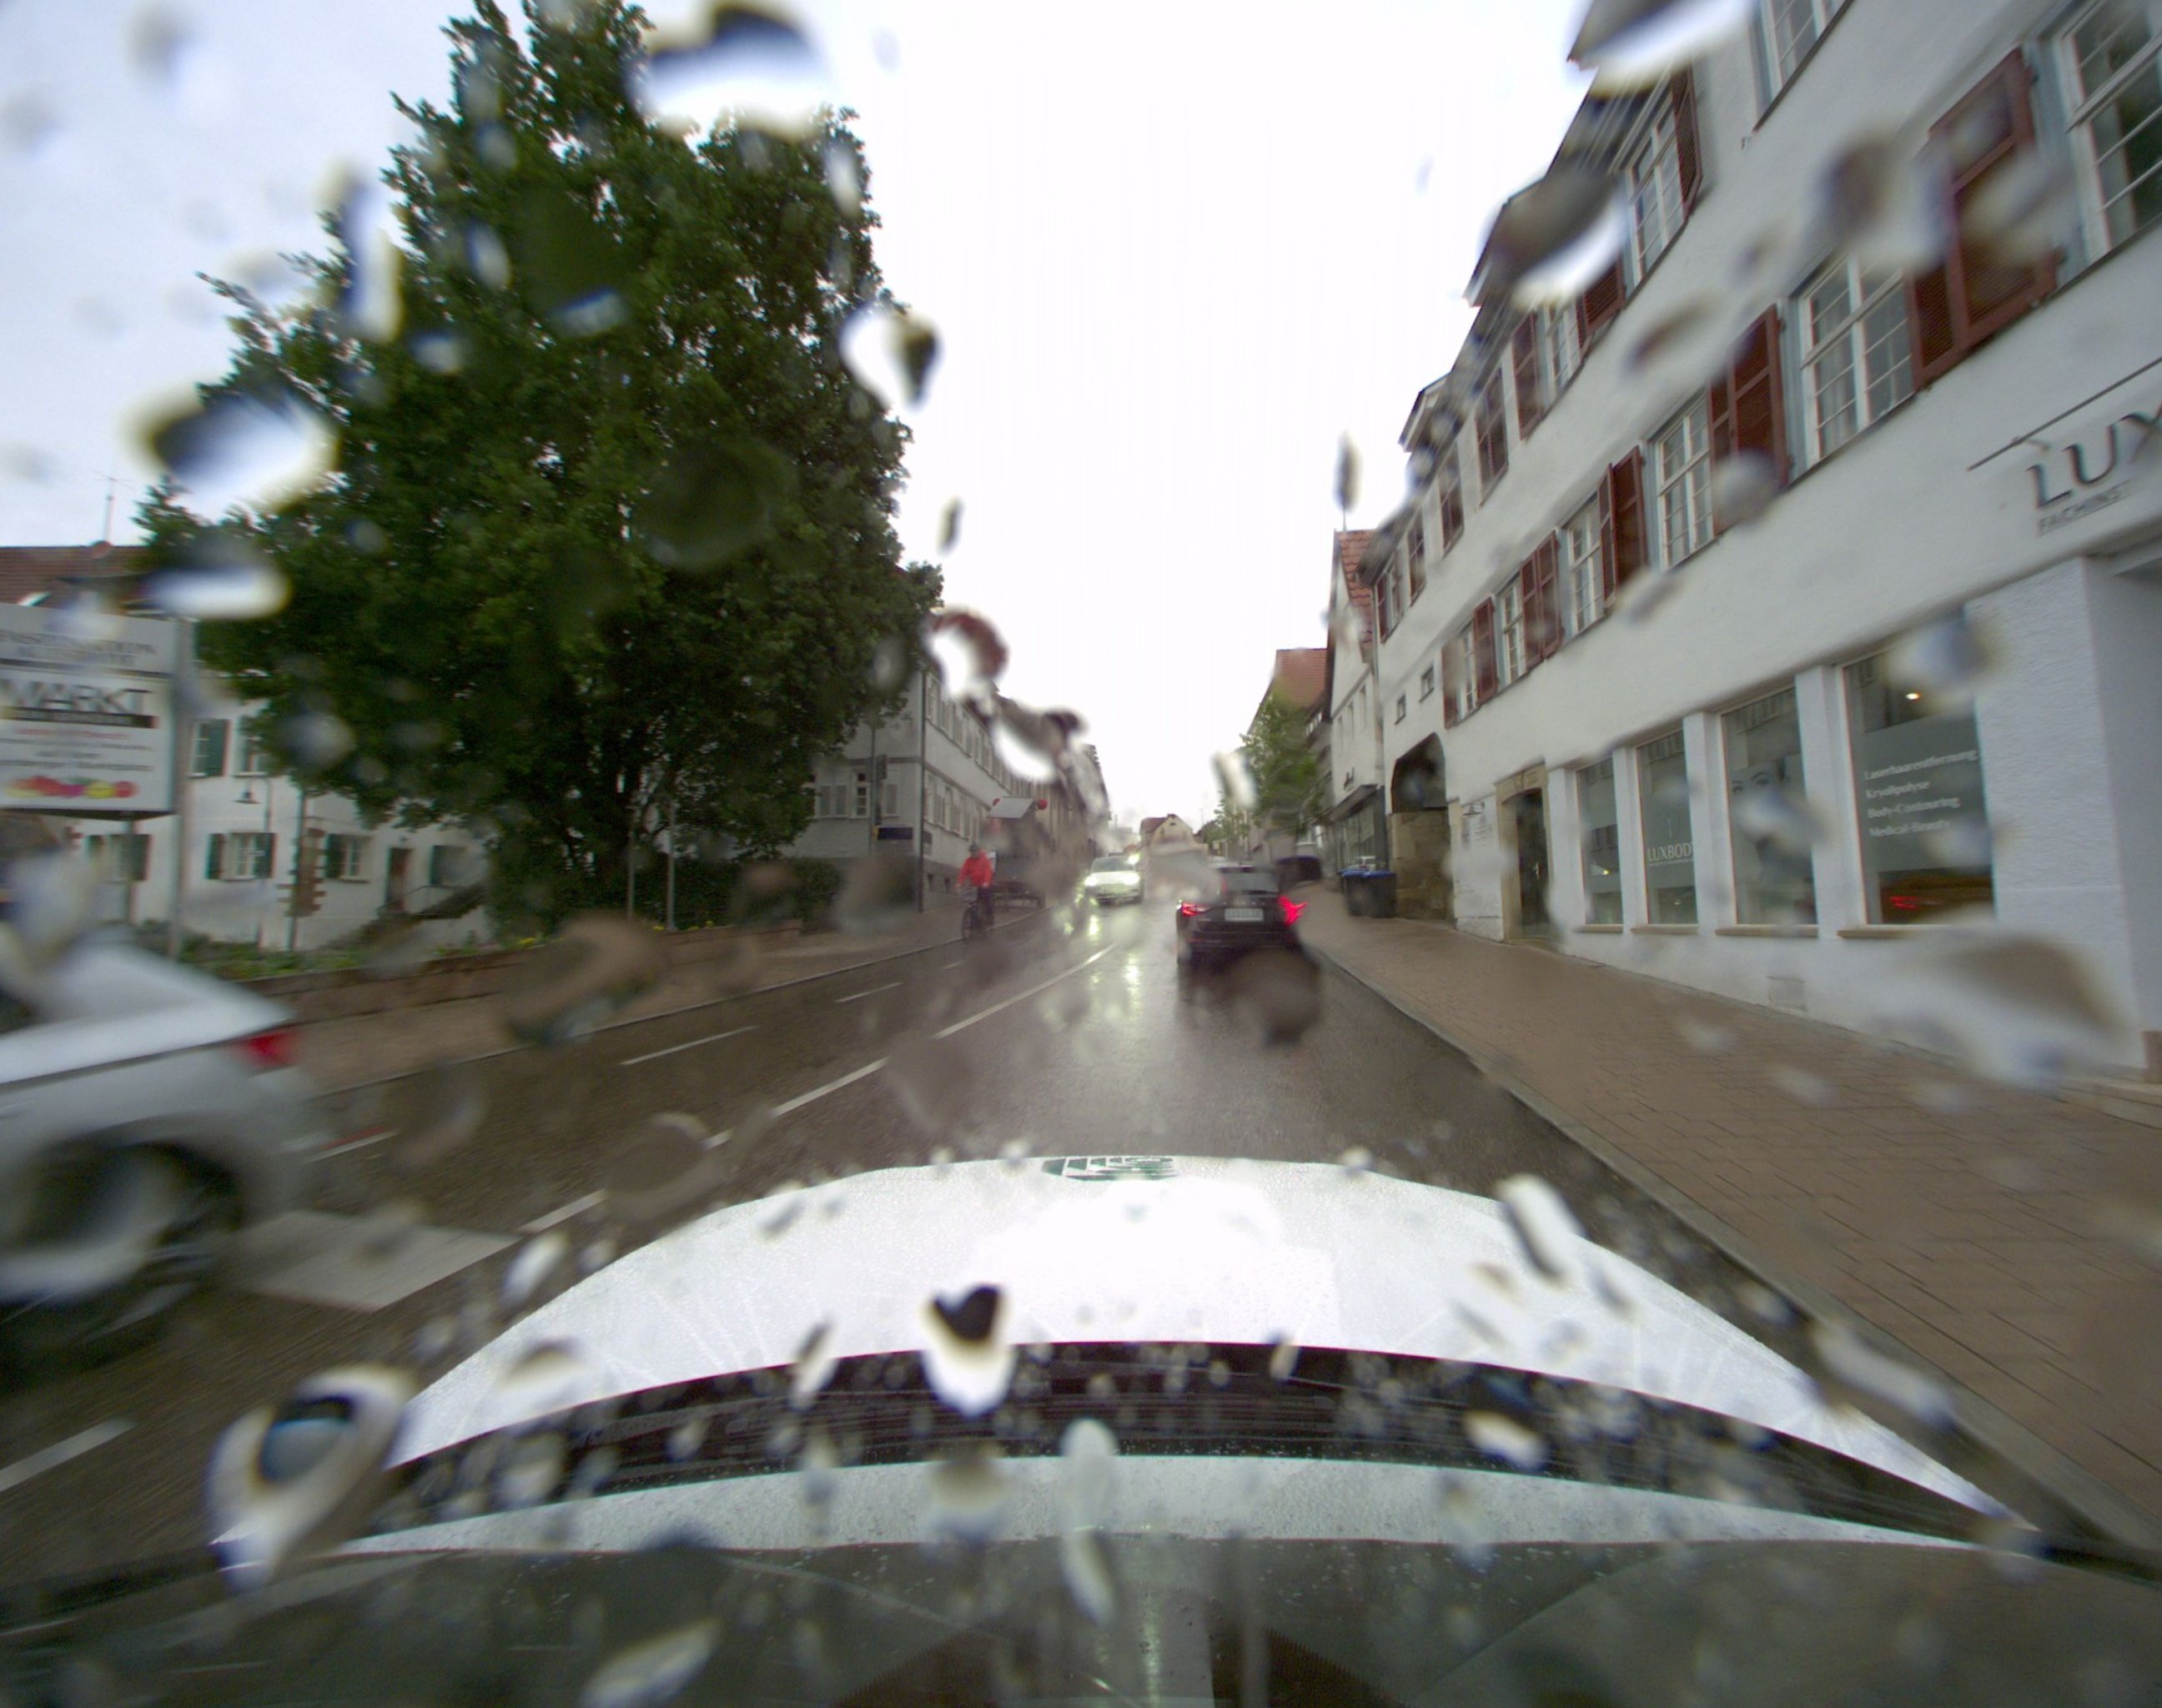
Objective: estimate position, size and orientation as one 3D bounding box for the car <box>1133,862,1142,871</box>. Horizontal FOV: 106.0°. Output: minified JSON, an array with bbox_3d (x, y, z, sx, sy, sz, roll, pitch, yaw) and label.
[{"bbox_3d":[10.500,2.325,150.161,1.620,1.530,4.004,0,0,4],"label":"car"}]

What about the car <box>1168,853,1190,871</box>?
[{"bbox_3d":[8.569,0.722,71.368,1.696,1.552,3.609,0,0,3],"label":"car"}]

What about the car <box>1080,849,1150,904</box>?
[{"bbox_3d":[1.289,0.755,28.835,1.862,1.662,4.318,-4,-1,9],"label":"car"}]

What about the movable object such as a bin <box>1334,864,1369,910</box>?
[{"bbox_3d":[6.828,0.829,20.573,0.655,1.062,0.616,-5,1,9],"label":"movable object such as a bin"}]

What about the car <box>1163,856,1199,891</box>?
[{"bbox_3d":[5.104,1.047,41.913,1.620,1.530,4.002,-1,-5,4],"label":"car"}]

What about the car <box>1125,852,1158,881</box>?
[{"bbox_3d":[3.339,0.654,44.769,1.765,1.534,3.715,0,0,4],"label":"car"}]

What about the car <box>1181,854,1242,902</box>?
[{"bbox_3d":[4.368,0.742,27.201,1.845,1.473,4.011,-1,0,9],"label":"car"}]

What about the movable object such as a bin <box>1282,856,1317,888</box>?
[{"bbox_3d":[9.981,0.806,37.291,1.280,1.349,1.490,-2,2,5],"label":"movable object such as a bin"}]

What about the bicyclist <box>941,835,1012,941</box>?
[{"bbox_3d":[-2.032,0.644,15.943,1.128,2.013,0.883,-1,0,12],"label":"bicyclist"}]

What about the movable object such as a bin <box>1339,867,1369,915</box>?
[{"bbox_3d":[6.560,0.875,19.576,0.564,1.108,0.677,-1,0,8],"label":"movable object such as a bin"}]

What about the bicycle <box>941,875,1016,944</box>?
[{"bbox_3d":[-1.965,1.054,15.994,0.742,1.163,2.164,-2,0,13],"label":"bicycle"}]

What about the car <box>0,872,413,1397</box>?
[{"bbox_3d":[-4.027,0.803,1.640,1.649,1.427,3.887,0,0,15],"label":"car"}]

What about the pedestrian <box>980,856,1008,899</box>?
[{"bbox_3d":[-3.162,0.844,29.663,0.703,1.530,1.048,1,0,9],"label":"pedestrian"}]

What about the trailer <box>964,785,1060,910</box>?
[{"bbox_3d":[-2.007,-0.097,25.276,1.983,3.534,4.583,0,-2,7],"label":"trailer"}]

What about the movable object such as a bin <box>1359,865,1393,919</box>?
[{"bbox_3d":[6.844,0.865,18.890,0.621,1.205,0.607,-1,2,7],"label":"movable object such as a bin"}]

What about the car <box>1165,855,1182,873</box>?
[{"bbox_3d":[11.025,1.163,97.196,1.983,2.014,4.007,-1,-1,6],"label":"car"}]

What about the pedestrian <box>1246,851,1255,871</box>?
[{"bbox_3d":[14.563,0.584,69.845,0.701,1.725,0.834,0,0,9],"label":"pedestrian"}]

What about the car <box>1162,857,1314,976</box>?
[{"bbox_3d":[2.338,0.798,12.430,1.875,1.448,4.369,-1,0,10],"label":"car"}]
